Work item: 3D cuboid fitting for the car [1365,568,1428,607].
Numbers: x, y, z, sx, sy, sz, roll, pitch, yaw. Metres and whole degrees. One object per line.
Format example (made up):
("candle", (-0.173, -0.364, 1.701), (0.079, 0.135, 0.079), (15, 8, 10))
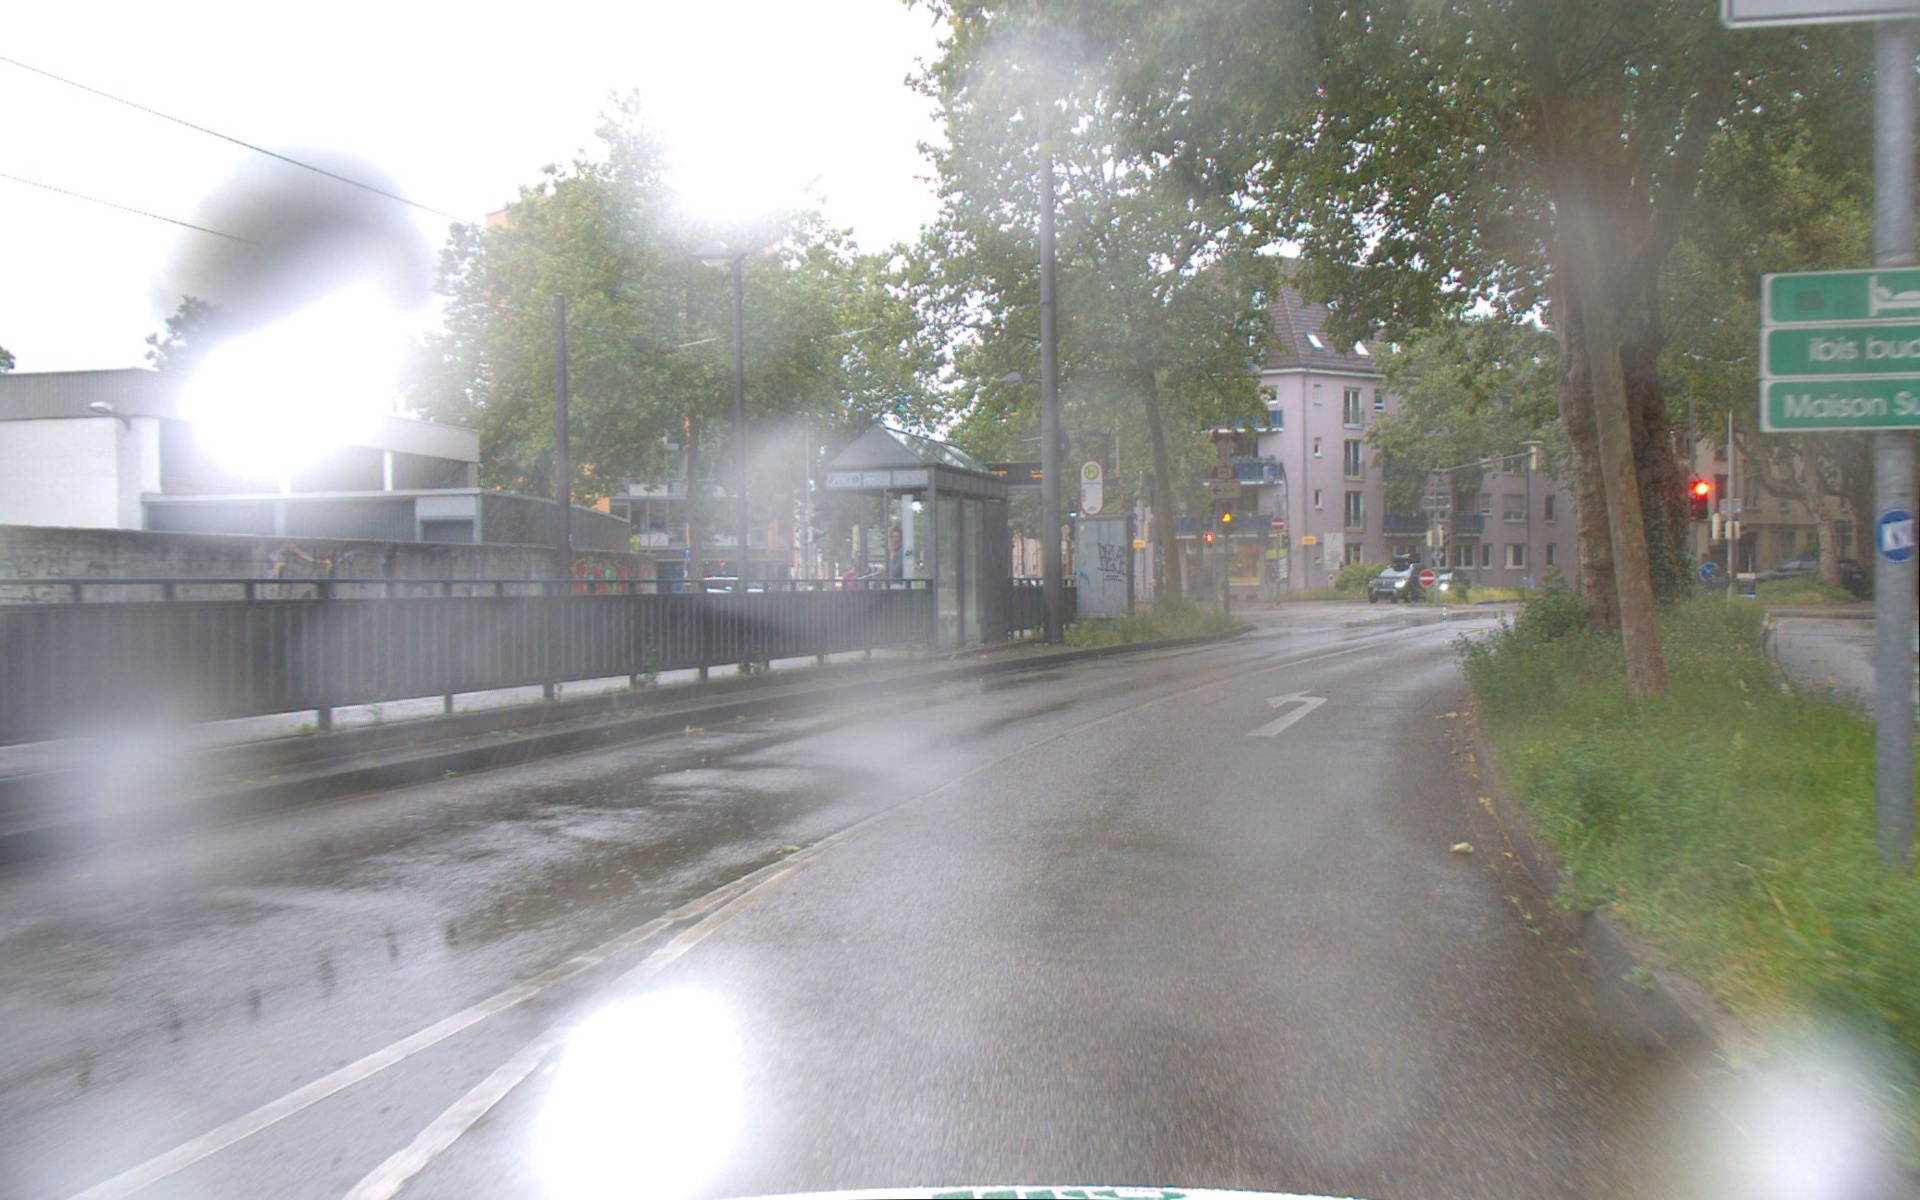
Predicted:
("car", (19.029, -0.542, 72.010), (1.693, 1.579, 3.551), (-3, 0, 31))

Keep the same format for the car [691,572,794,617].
("car", (-8.948, -0.225, 67.967), (3.942, 1.680, 1.964), (-3, 0, 38))

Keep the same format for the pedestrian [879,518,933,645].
("pedestrian", (-0.771, -0.261, 23.516), (0.571, 1.761, 0.566), (-2, 0, -16))

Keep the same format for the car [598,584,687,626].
("car", (-13.790, 0.225, 71.757), (3.720, 1.668, 1.717), (-3, 0, 38))

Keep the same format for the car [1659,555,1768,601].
("car", (27.834, -0.811, 61.142), (3.419, 1.550, 1.515), (-3, 0, 35))
